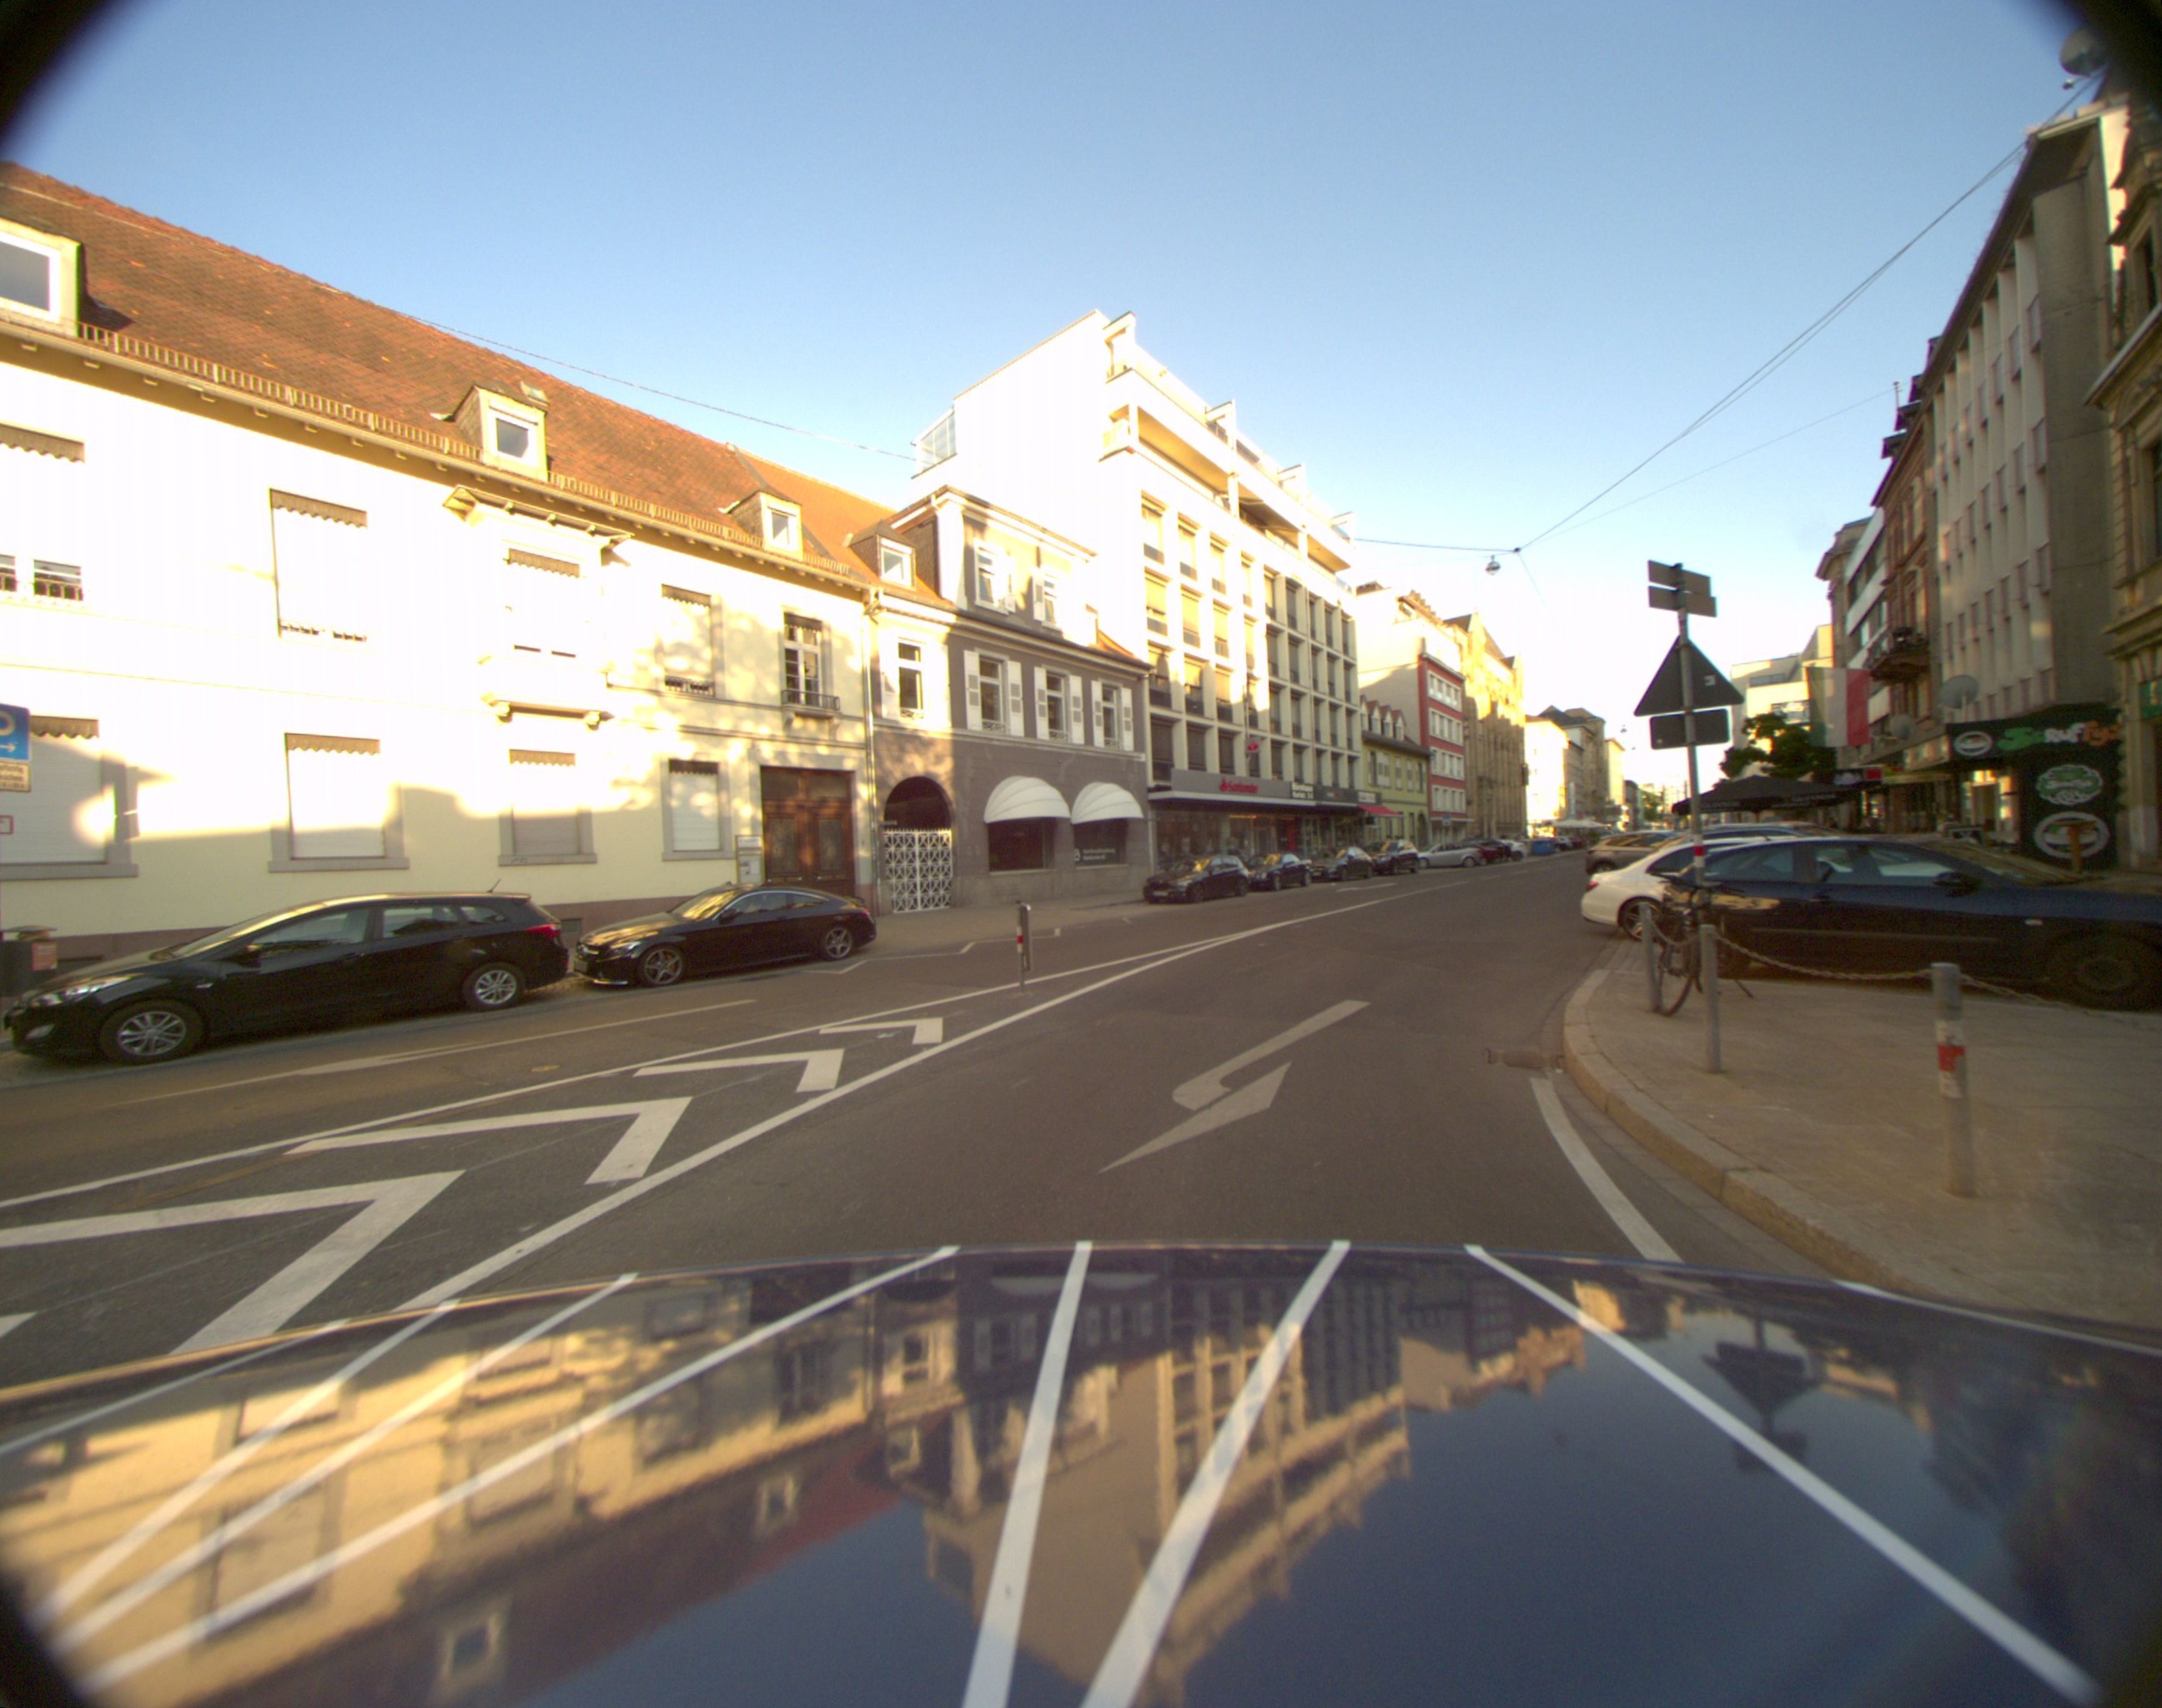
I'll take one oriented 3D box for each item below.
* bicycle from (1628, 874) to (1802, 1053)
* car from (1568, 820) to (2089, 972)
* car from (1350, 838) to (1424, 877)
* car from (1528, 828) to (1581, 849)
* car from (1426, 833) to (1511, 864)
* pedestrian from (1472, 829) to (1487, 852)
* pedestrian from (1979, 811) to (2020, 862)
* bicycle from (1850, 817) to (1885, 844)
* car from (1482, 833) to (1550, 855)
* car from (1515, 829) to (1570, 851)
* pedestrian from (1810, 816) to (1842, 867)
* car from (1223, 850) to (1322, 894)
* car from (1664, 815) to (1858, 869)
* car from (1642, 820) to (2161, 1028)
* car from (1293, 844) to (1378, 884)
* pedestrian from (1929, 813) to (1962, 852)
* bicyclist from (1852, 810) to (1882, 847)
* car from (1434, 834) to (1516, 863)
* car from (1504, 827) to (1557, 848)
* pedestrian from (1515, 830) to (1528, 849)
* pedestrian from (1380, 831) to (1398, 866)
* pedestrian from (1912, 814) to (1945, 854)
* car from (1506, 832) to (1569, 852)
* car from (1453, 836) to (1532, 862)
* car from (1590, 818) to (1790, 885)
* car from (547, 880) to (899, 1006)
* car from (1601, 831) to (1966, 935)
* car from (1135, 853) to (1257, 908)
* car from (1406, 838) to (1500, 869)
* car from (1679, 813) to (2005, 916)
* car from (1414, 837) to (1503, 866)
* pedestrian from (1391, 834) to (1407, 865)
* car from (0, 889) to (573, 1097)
[{"bbox_3d":[5.138,0.801,6.114,1.807,1.119,0.726,-4,-2,-42],"label":"bicycle"},{"bbox_3d":[9.474,0.521,10.263,1.770,1.502,4.622,-3,-1,-22],"label":"car"},{"bbox_3d":[14.648,0.125,36.267,1.828,1.649,4.371,-2,1,42],"label":"car"},{"bbox_3d":[44.879,-1.435,72.081,3.830,1.714,1.756,-4,-1,15],"label":"car"},{"bbox_3d":[23.475,-0.328,46.173,4.223,1.667,1.755,-3,0,6],"label":"car"},{"bbox_3d":[34.171,-1.163,65.130,0.848,1.932,1.014,-2,1,45],"label":"pedestrian"},{"bbox_3d":[24.346,-0.454,20.150,0.573,1.301,0.577,-2,1,41],"label":"pedestrian"},{"bbox_3d":[34.347,-1.042,33.193,0.766,1.108,2.182,-3,0,39],"label":"bicycle"},{"bbox_3d":[34.126,-0.807,59.675,4.222,1.465,1.755,-3,0,10],"label":"car"},{"bbox_3d":[40.888,-1.254,67.376,3.830,1.742,1.756,-3,0,15],"label":"car"},{"bbox_3d":[21.303,-0.346,21.738,0.575,1.408,0.677,-2,1,39],"label":"pedestrian"},{"bbox_3d":[7.122,0.626,27.975,1.743,1.379,4.510,-3,0,39],"label":"car"},{"bbox_3d":[24.415,-0.381,27.549,1.910,1.722,4.833,-3,0,-23],"label":"car"},{"bbox_3d":[7.849,0.562,6.990,1.743,1.451,3.857,-3,-3,-26],"label":"car"},{"bbox_3d":[10.833,0.400,32.153,1.743,1.438,4.567,-3,0,41],"label":"car"},{"bbox_3d":[28.249,-0.695,24.839,0.575,1.238,0.677,-2,0,39],"label":"pedestrian"},{"bbox_3d":[34.450,-1.136,33.303,0.766,1.550,0.814,-3,1,39],"label":"bicyclist"},{"bbox_3d":[25.016,-0.355,48.342,4.222,1.607,1.755,-3,0,10],"label":"car"},{"bbox_3d":[45.204,-1.641,76.498,4.220,1.871,1.756,-3,0,15],"label":"car"},{"bbox_3d":[42.732,-1.366,73.709,0.848,1.789,1.014,-2,1,45],"label":"pedestrian"},{"bbox_3d":[18.758,-0.327,46.273,0.761,2.055,0.720,-2,1,39],"label":"pedestrian"},{"bbox_3d":[26.894,-0.626,24.132,0.575,1.238,0.677,-2,0,39],"label":"pedestrian"},{"bbox_3d":[39.057,-0.988,65.091,4.220,1.465,1.756,-3,0,15],"label":"car"},{"bbox_3d":[27.215,-0.354,50.314,4.222,1.465,1.755,-3,0,10],"label":"car"},{"bbox_3d":[17.431,-0.010,21.970,1.855,1.619,4.044,-4,-1,-29],"label":"car"},{"bbox_3d":[-5.613,1.287,12.514,1.774,1.386,4.867,-4,0,41],"label":"car"},{"bbox_3d":[11.672,0.425,13.032,1.713,1.439,4.243,-2,0,-25],"label":"car"},{"bbox_3d":[3.681,0.787,23.778,1.743,1.438,4.257,-3,0,40],"label":"car"},{"bbox_3d":[20.393,-0.030,41.757,4.225,1.431,1.754,-3,0,1],"label":"car"},{"bbox_3d":[14.324,0.179,14.609,1.795,1.647,4.043,-2,0,-25],"label":"car"},{"bbox_3d":[21.817,-0.131,44.063,4.223,1.431,1.755,-3,0,6],"label":"car"},{"bbox_3d":[19.186,-0.275,45.831,0.611,1.876,0.720,-2,1,39],"label":"pedestrian"},{"bbox_3d":[-8.802,1.340,8.812,1.803,1.532,4.439,-4,-1,40],"label":"car"}]
